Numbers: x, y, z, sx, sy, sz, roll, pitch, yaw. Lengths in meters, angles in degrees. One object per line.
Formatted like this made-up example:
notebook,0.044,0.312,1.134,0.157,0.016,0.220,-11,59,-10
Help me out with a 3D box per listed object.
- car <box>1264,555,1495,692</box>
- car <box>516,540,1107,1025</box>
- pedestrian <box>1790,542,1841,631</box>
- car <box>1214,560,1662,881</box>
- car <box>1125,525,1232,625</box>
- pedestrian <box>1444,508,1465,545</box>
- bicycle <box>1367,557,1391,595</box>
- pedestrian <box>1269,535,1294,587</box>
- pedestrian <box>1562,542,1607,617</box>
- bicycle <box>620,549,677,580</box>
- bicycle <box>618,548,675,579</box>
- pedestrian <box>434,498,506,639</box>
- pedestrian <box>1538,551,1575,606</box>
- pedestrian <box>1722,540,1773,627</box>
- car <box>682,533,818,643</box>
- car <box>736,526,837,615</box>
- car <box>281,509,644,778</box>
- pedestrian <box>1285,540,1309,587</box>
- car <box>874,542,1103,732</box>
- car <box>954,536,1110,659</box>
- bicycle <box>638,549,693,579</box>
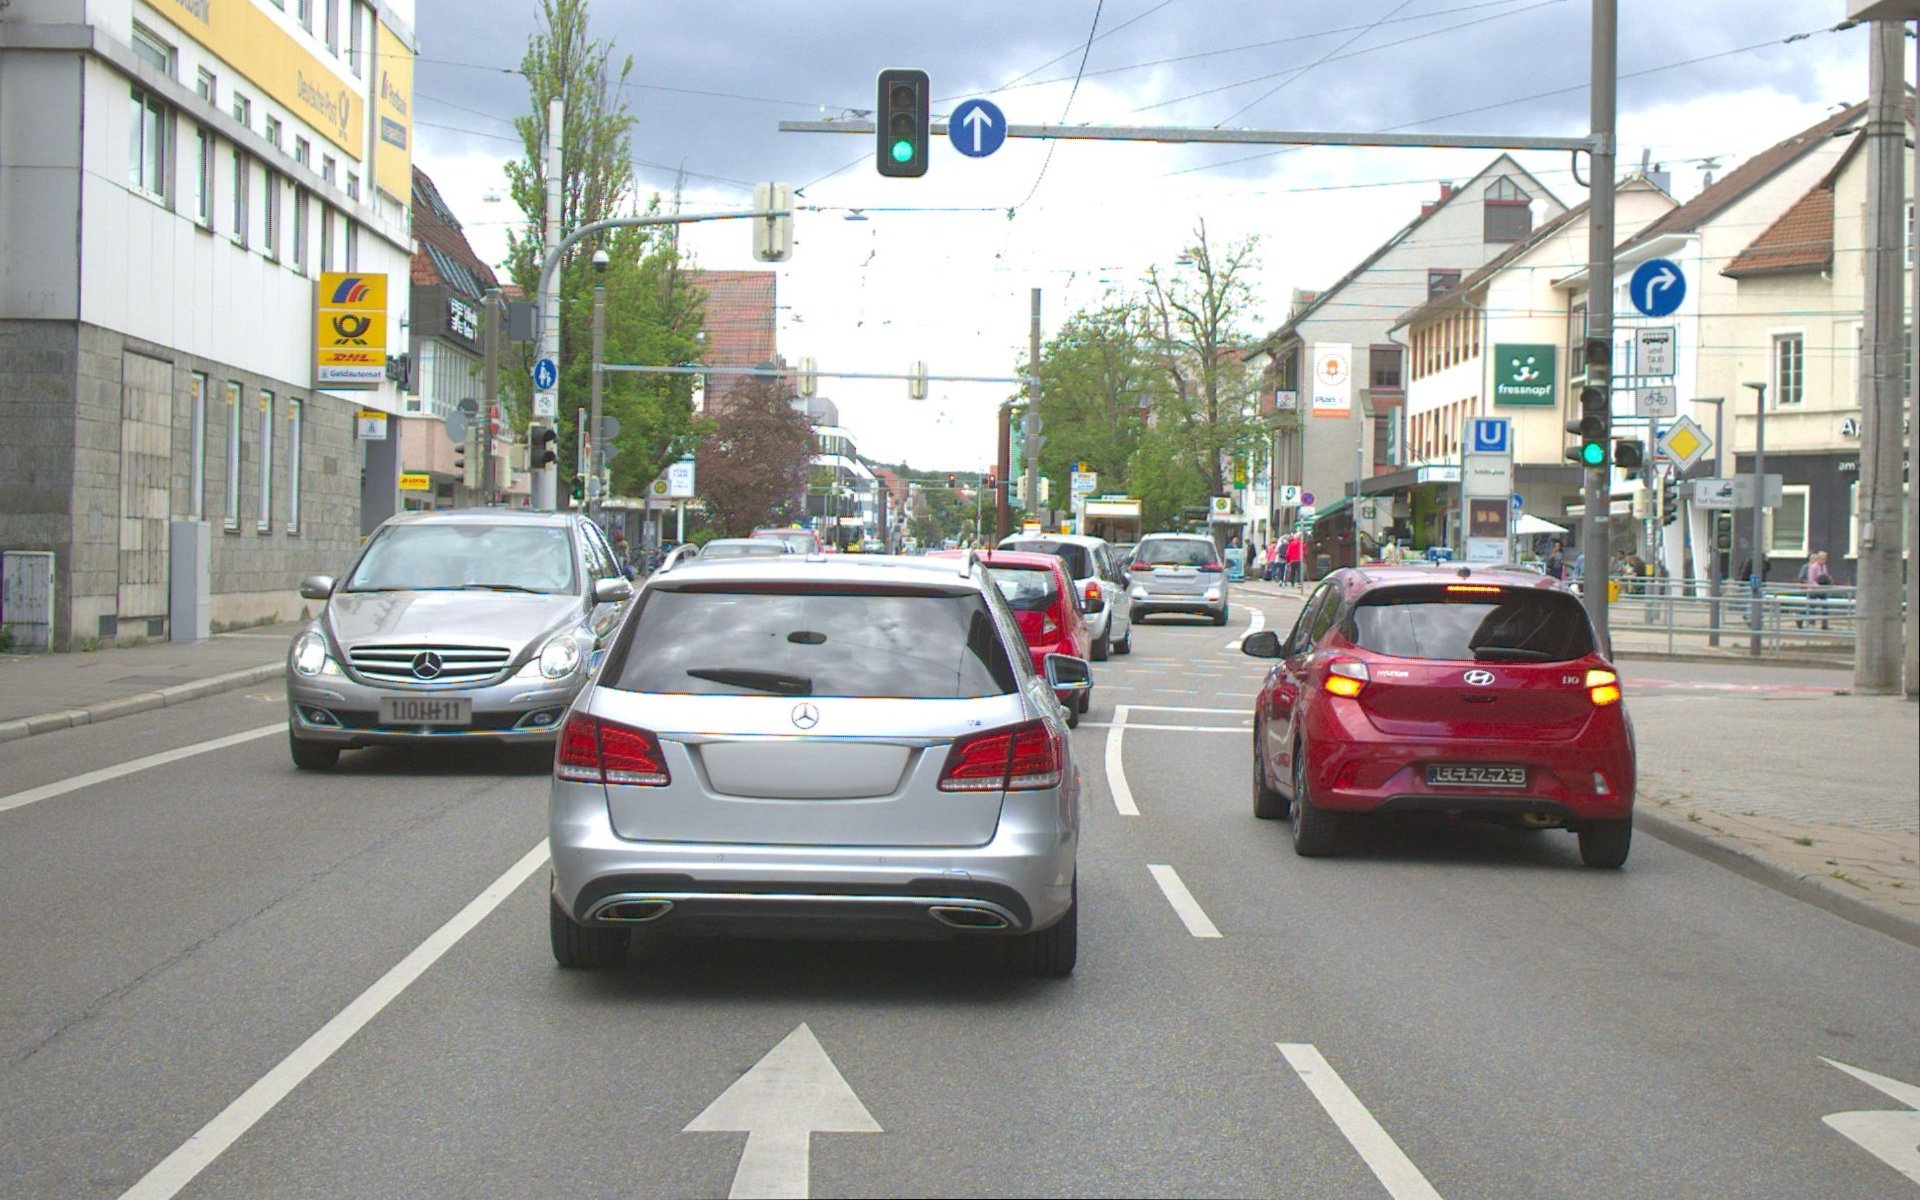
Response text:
car,4.785,0.220,38.810,1.736,1.406,3.996,1,2,20
car,-0.565,0.544,12.948,1.845,1.503,4.172,1,1,-3
pedestrian,16.850,-0.266,67.730,0.647,1.712,0.789,3,1,-6
car,2.481,0.567,18.781,1.698,1.447,4.000,3,1,-2
car,4.003,-0.481,63.465,1.734,1.753,4.000,1,1,1
pedestrian,16.725,-2.483,116.259,0.533,1.214,0.580,2,1,-3
bicycle,12.262,-0.710,100.622,0.448,1.103,2.149,1,1,0
pedestrian,10.489,-1.269,112.229,0.577,1.661,0.651,2,1,-13
pedestrian,14.269,-0.473,78.558,0.841,1.712,0.727,1,1,-4
bicycle,-11.039,-1.274,121.938,1.937,1.025,0.530,2,1,-10
bicycle,-11.183,-1.289,122.597,1.937,1.025,0.530,2,1,-10
pedestrian,-6.106,-0.400,42.903,0.648,1.712,0.782,3,1,7
pedestrian,17.565,-0.627,101.197,0.640,1.586,0.898,2,1,-21
pedestrian,15.626,-0.334,68.219,0.702,1.712,0.650,0,1,-24
car,-2.888,-0.201,47.978,1.657,1.461,3.921,0,1,0
car,-3.393,-0.596,67.887,1.799,1.689,3.898,0,1,0
car,-3.248,0.217,23.319,1.776,1.626,4.768,0,1,0
pedestrian,10.677,-1.165,109.035,0.578,1.464,0.651,2,1,-6
car,0.314,0.267,30.250,1.734,1.503,4.000,2,1,4
car,0.887,-0.067,44.562,1.734,1.503,4.001,1,1,-3
bicycle,-10.782,-1.321,125.923,1.937,1.025,0.530,2,1,-10
